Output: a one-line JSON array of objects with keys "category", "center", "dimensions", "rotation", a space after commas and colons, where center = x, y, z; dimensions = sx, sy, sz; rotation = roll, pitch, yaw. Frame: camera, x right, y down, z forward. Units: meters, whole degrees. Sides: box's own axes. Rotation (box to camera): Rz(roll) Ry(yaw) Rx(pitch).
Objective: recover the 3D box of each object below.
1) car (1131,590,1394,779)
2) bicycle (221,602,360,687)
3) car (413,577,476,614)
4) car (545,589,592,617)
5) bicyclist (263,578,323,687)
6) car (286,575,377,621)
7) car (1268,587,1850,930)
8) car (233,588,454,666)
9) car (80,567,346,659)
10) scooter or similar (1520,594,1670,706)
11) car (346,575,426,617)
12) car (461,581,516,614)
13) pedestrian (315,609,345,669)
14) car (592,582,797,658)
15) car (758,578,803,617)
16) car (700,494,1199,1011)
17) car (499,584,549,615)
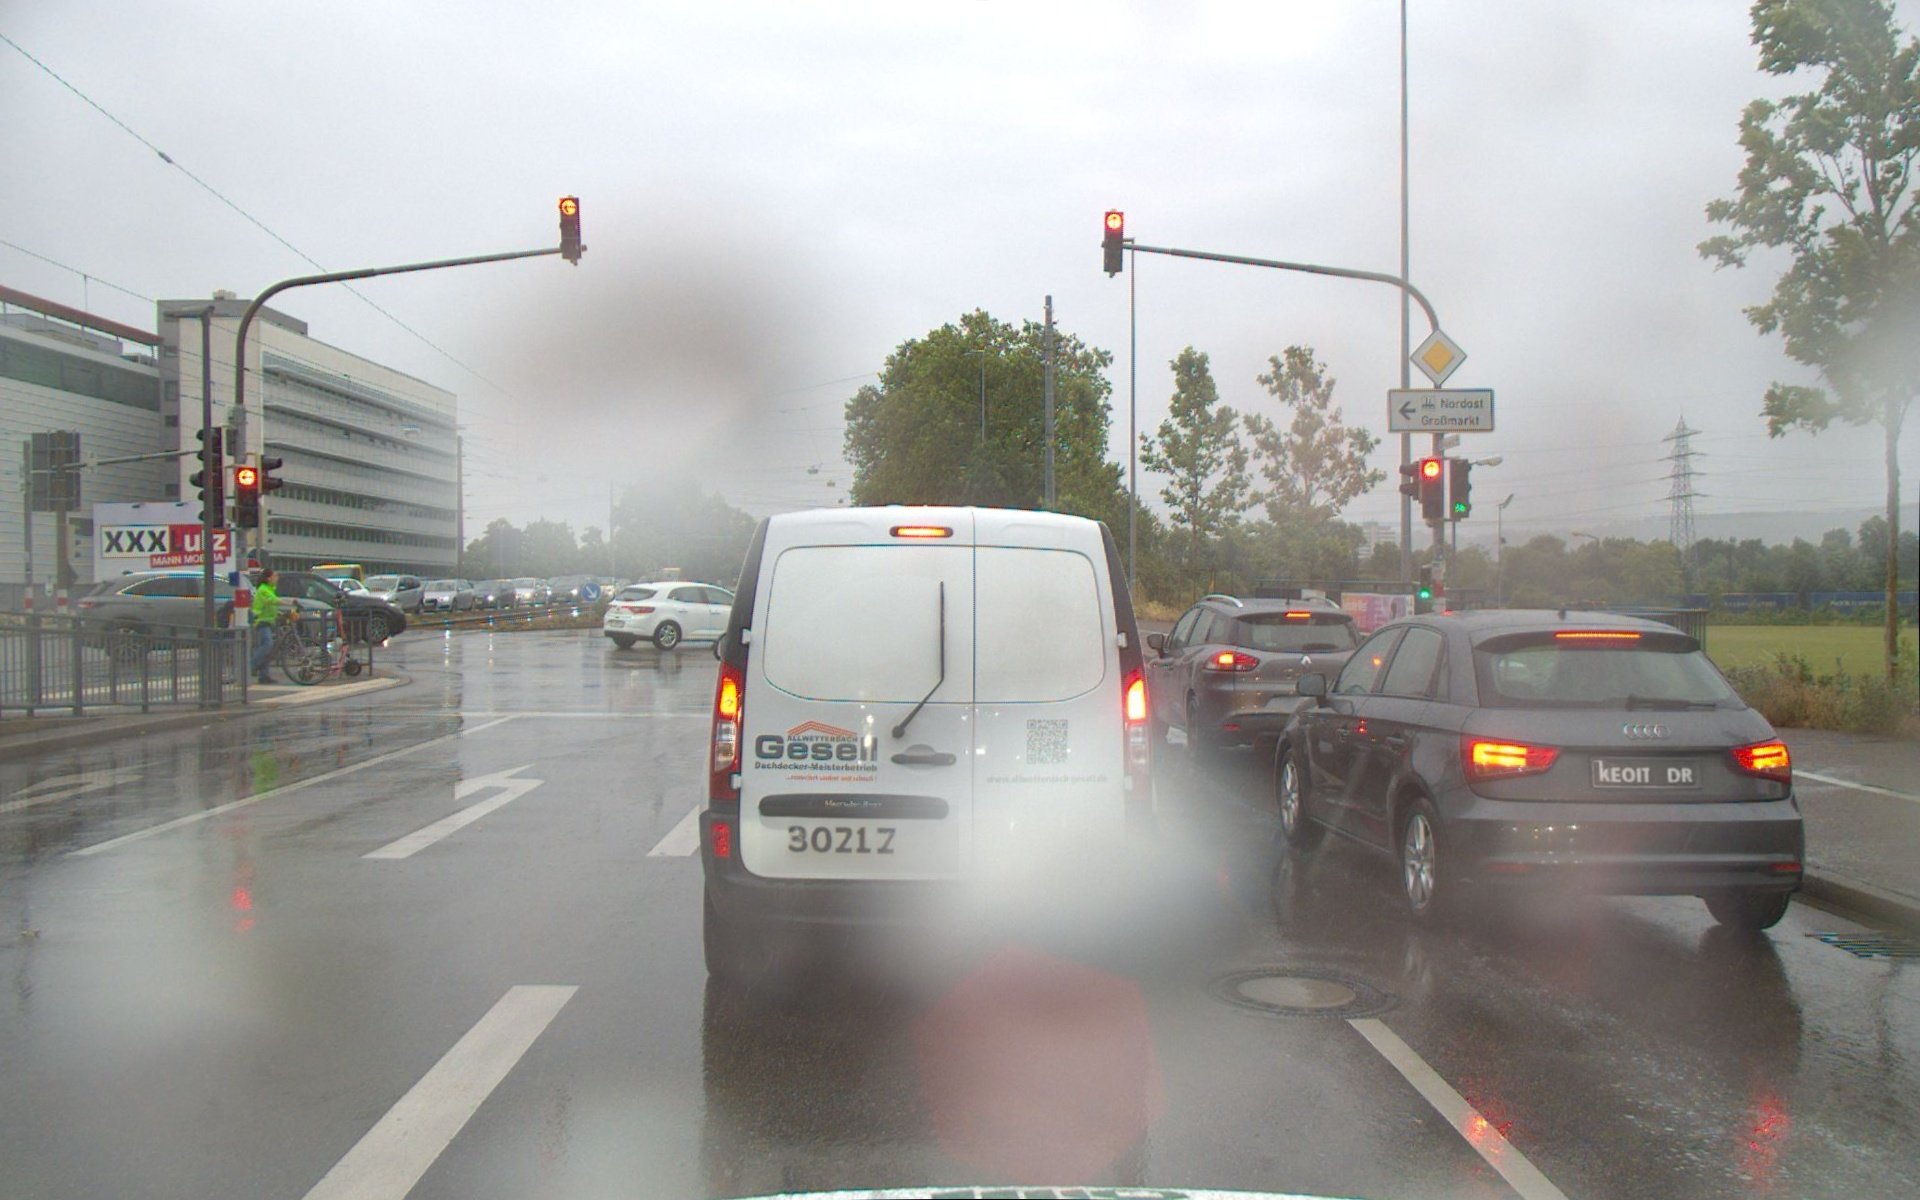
[{"category": "car", "center": [2.714, 0.702, 15.690], "dimensions": [1.650, 1.534, 3.919], "rotation": [1, 0, -2]}, {"category": "bicycle", "center": [-9.479, 0.622, 23.466], "dimensions": [1.745, 1.157, 0.512], "rotation": [1, 0, -43]}, {"category": "car", "center": [-21.824, -0.155, 70.093], "dimensions": [1.528, 1.451, 3.568], "rotation": [2, -1, -1]}, {"category": "car", "center": [-21.496, 0.192, 90.978], "dimensions": [1.676, 1.451, 3.808], "rotation": [2, -1, -1]}, {"category": "bicyclist", "center": [-9.464, 0.449, 23.464], "dimensions": [0.600, 1.517, 0.591], "rotation": [1, 0, -41]}, {"category": "car", "center": [-21.592, -0.048, 56.955], "dimensions": [1.676, 1.451, 3.808], "rotation": [2, -1, -1]}, {"category": "car", "center": [2.819, 0.680, 8.652], "dimensions": [1.565, 1.390, 3.628], "rotation": [-1, -1, -3]}, {"category": "car", "center": [-13.652, 0.601, 36.912], "dimensions": [4.422, 1.528, 1.706], "rotation": [3, -1, -16]}, {"category": "car", "center": [-14.066, 0.260, 31.394], "dimensions": [4.433, 1.528, 1.702], "rotation": [3, -1, -23]}, {"category": "scooter or similar", "center": [7.633, 0.557, 20.050], "dimensions": [0.676, 1.232, 3.020], "rotation": [0, 0, 0]}, {"category": "car", "center": [-21.770, -0.122, 62.858], "dimensions": [1.676, 1.451, 3.808], "rotation": [2, -1, -1]}, {"category": "car", "center": [-21.985, -0.102, 77.171], "dimensions": [1.528, 1.451, 3.568], "rotation": [2, -1, -1]}, {"category": "pedestrian", "center": [-9.701, 0.596, 25.477], "dimensions": [0.309, 0.913, 0.380], "rotation": [2, 0, -3]}, {"category": "car", "center": [-5.918, 0.470, 37.142], "dimensions": [4.236, 1.528, 1.794], "rotation": [3, -1, -42]}, {"category": "car", "center": [-8.550, -0.096, 78.989], "dimensions": [1.909, 1.691, 4.460], "rotation": [2, -1, -4]}, {"category": "car", "center": [-0.178, 0.496, 7.835], "dimensions": [1.719, 1.780, 4.166], "rotation": [1, 1, -4]}, {"category": "car", "center": [-22.025, 0.004, 83.657], "dimensions": [1.528, 1.451, 3.568], "rotation": [2, -1, -1]}]
